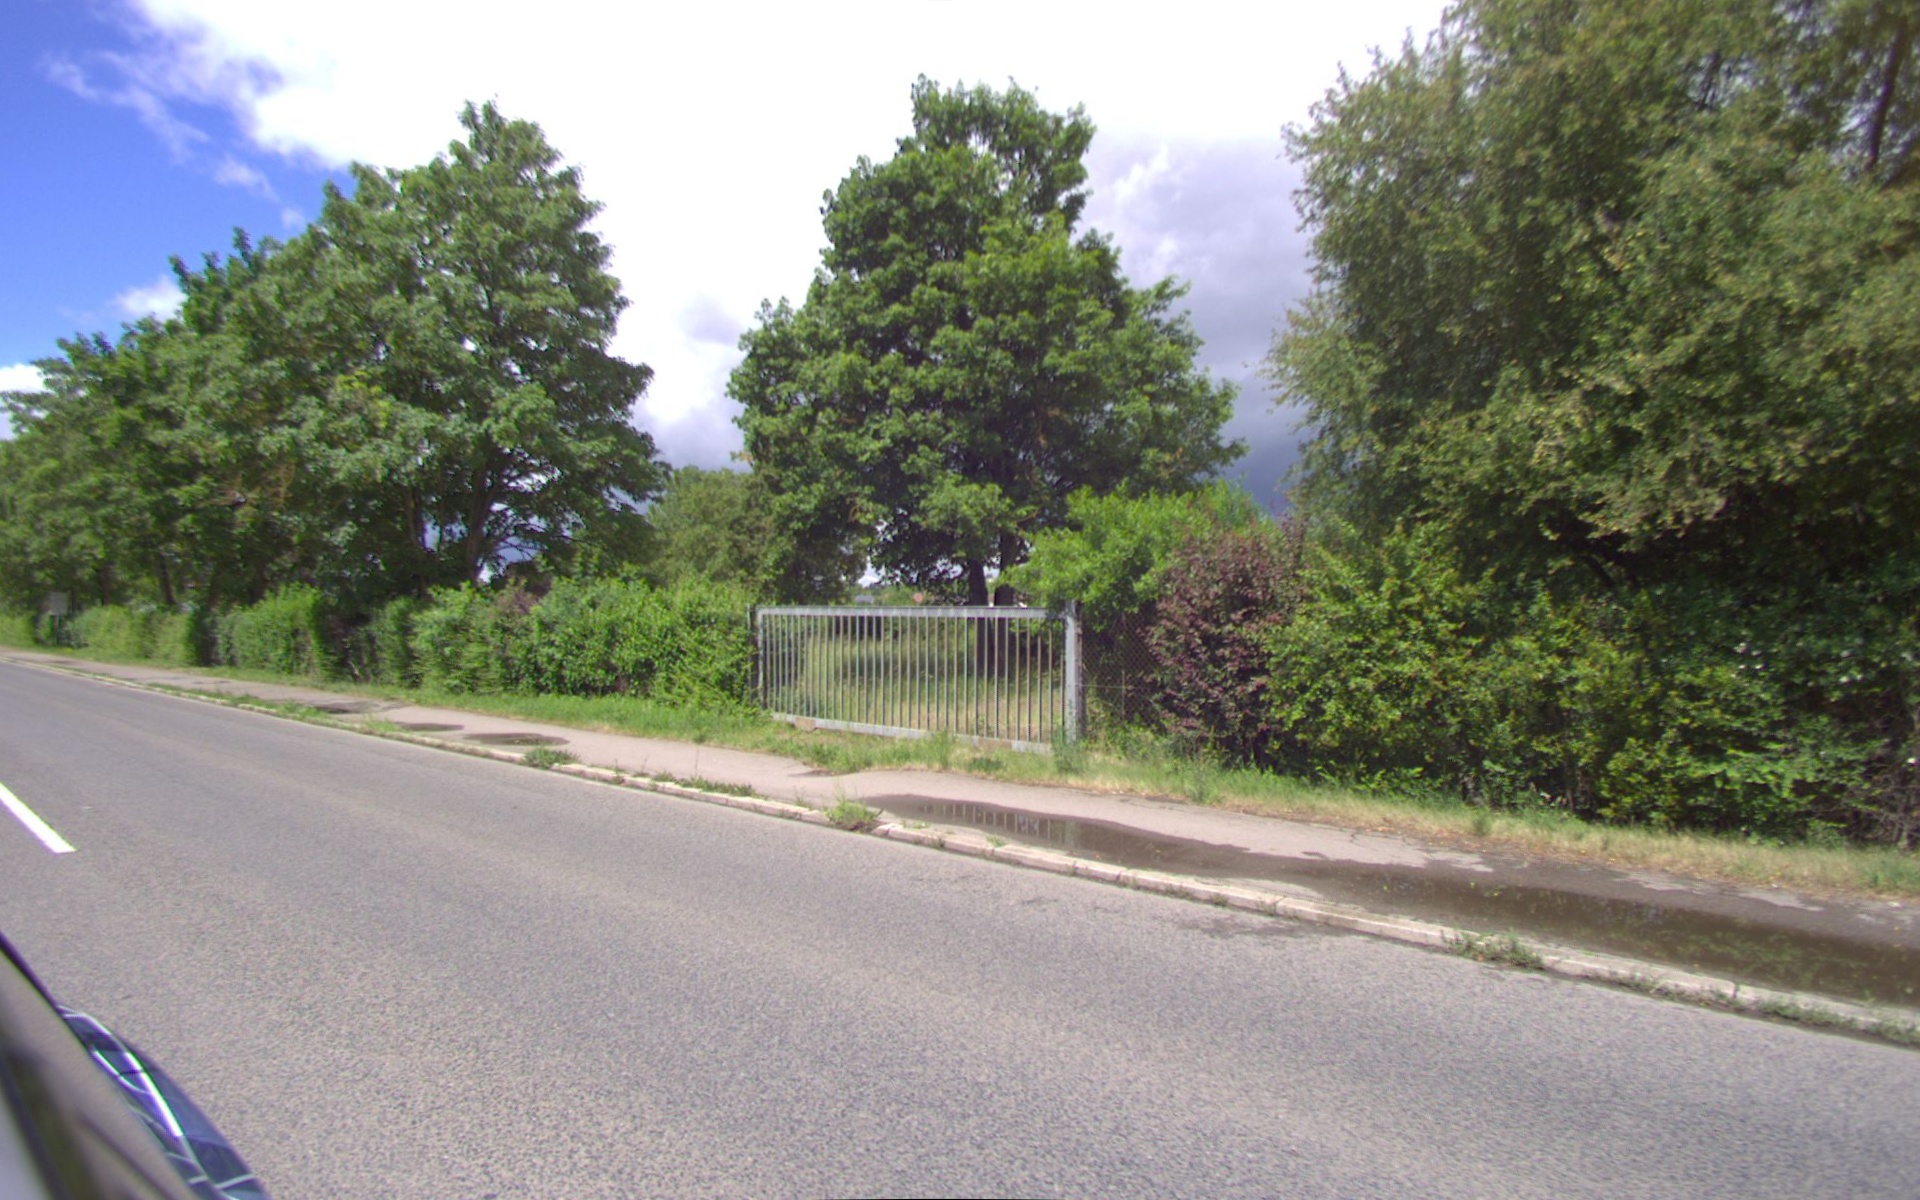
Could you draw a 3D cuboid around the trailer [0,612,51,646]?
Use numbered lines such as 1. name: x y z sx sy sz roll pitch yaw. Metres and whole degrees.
1. trailer: -116.654 3.459 122.359 3.301 4.114 9.385 0 -2 25
